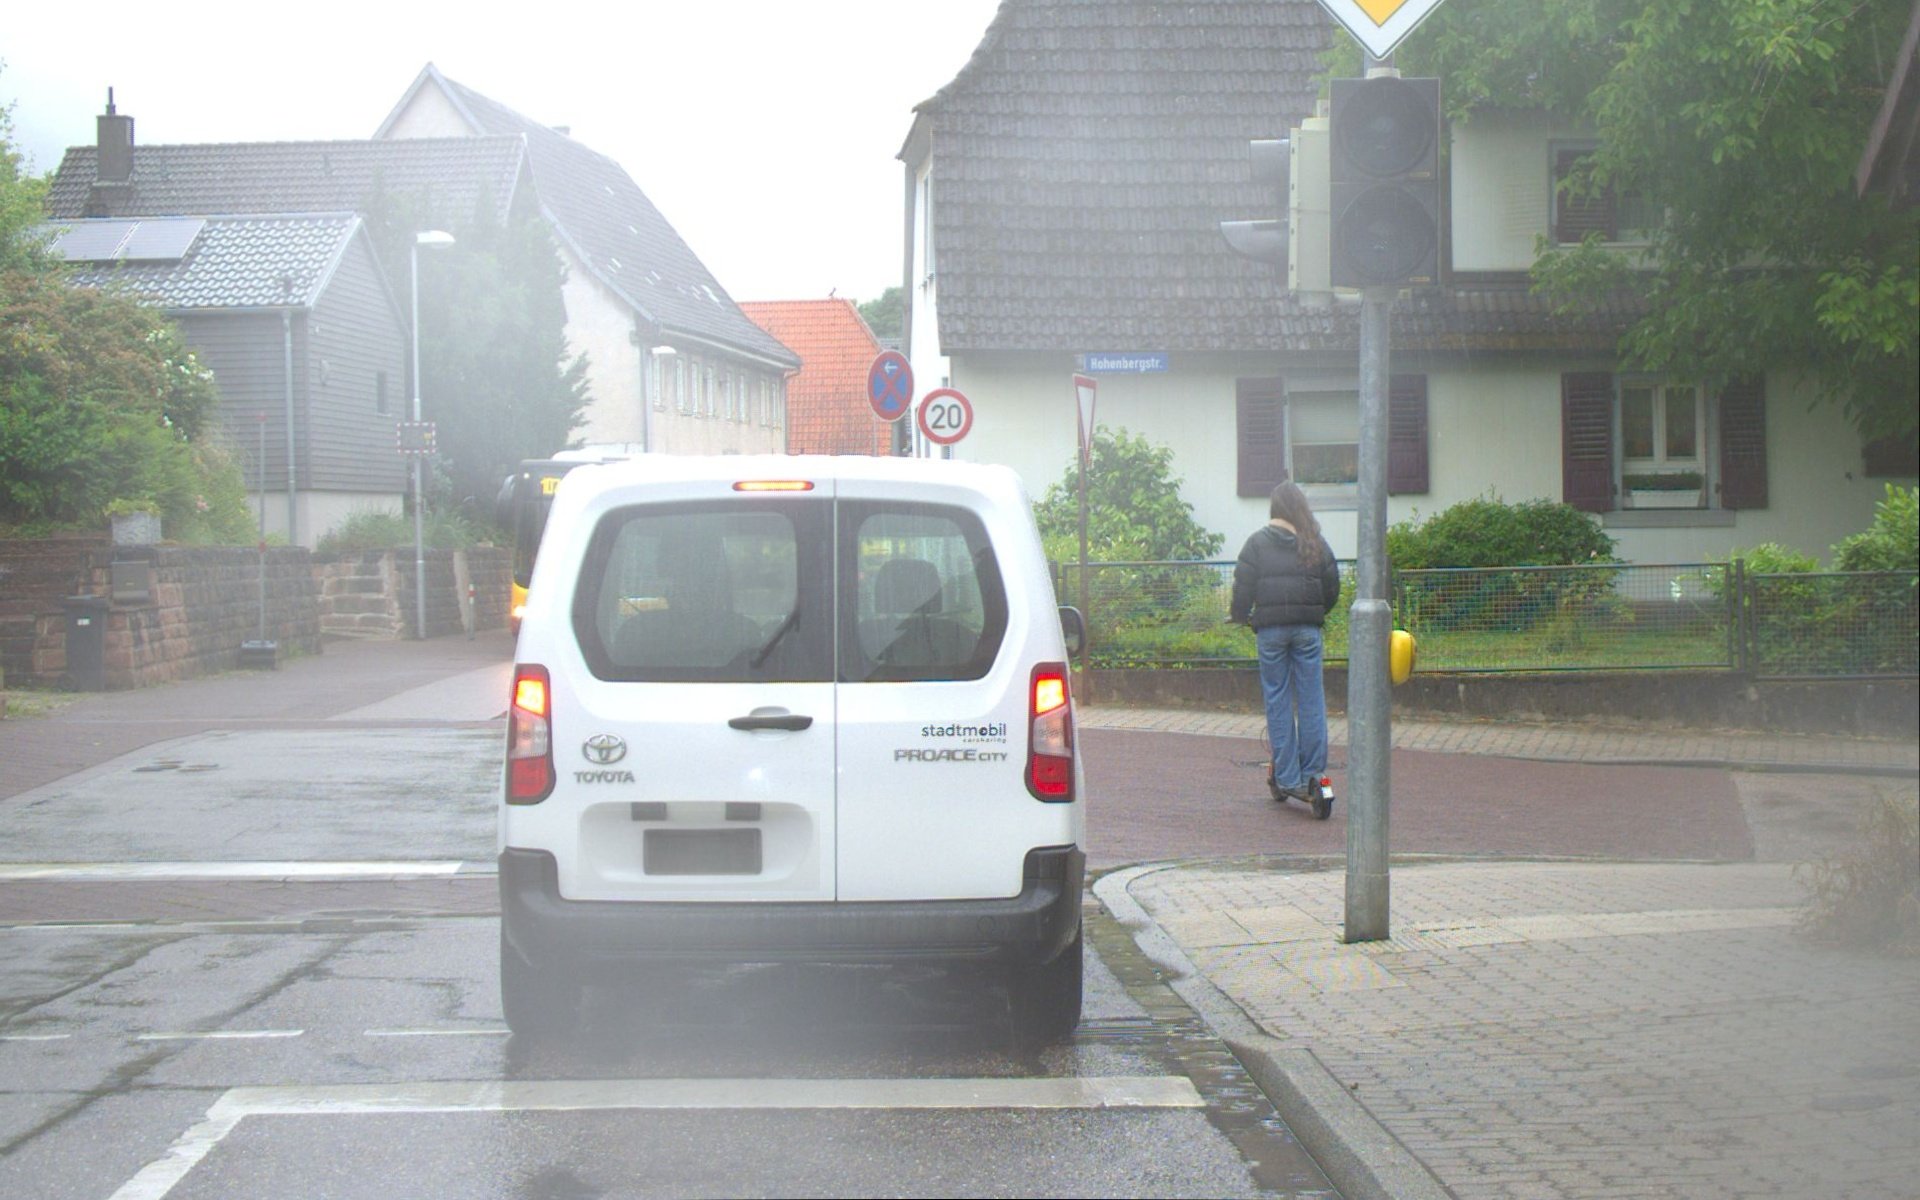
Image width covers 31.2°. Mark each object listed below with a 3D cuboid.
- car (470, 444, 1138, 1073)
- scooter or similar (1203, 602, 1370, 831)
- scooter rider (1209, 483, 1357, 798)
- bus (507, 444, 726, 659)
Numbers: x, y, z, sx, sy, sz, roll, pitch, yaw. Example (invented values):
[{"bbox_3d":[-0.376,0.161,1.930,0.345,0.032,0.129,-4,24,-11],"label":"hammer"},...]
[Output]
[{"bbox_3d":[-0.529,0.422,11.765,1.894,1.787,3.814,1,1,-3],"label":"car"},{"bbox_3d":[1.841,0.639,19.555,0.620,1.123,1.403,-1,5,-8],"label":"scooter or similar"},{"bbox_3d":[1.832,0.221,19.568,0.731,1.726,0.518,-1,6,-8],"label":"scooter rider"},{"bbox_3d":[-5.181,-0.934,53.788,2.649,2.989,12.195,0,2,-2],"label":"bus"}]
